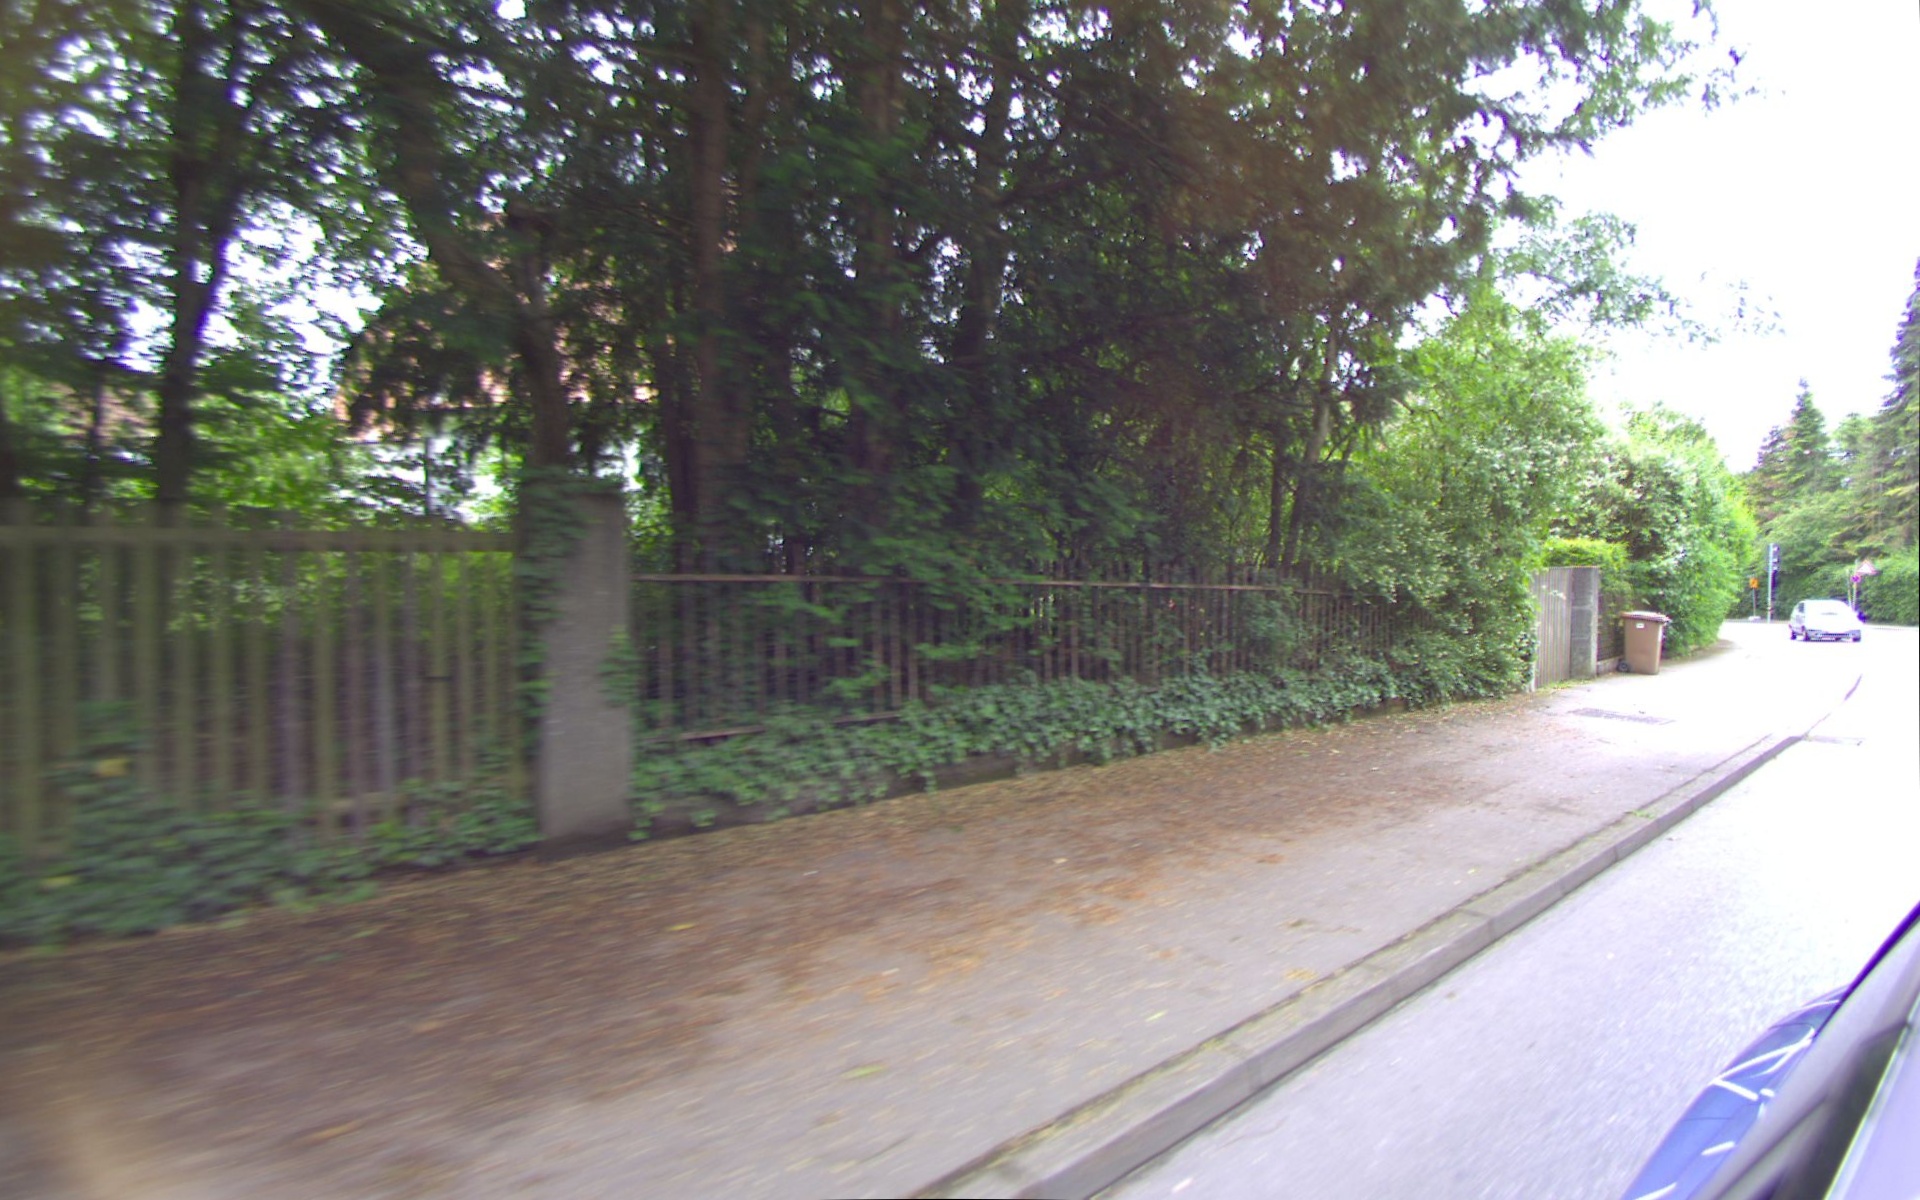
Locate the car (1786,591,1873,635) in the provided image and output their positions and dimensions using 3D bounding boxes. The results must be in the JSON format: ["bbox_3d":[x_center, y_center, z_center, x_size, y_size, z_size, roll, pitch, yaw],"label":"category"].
[{"bbox_3d":[34.005,0.460,39.693,1.985,1.616,3.954,0,0,32],"label":"car"}]
